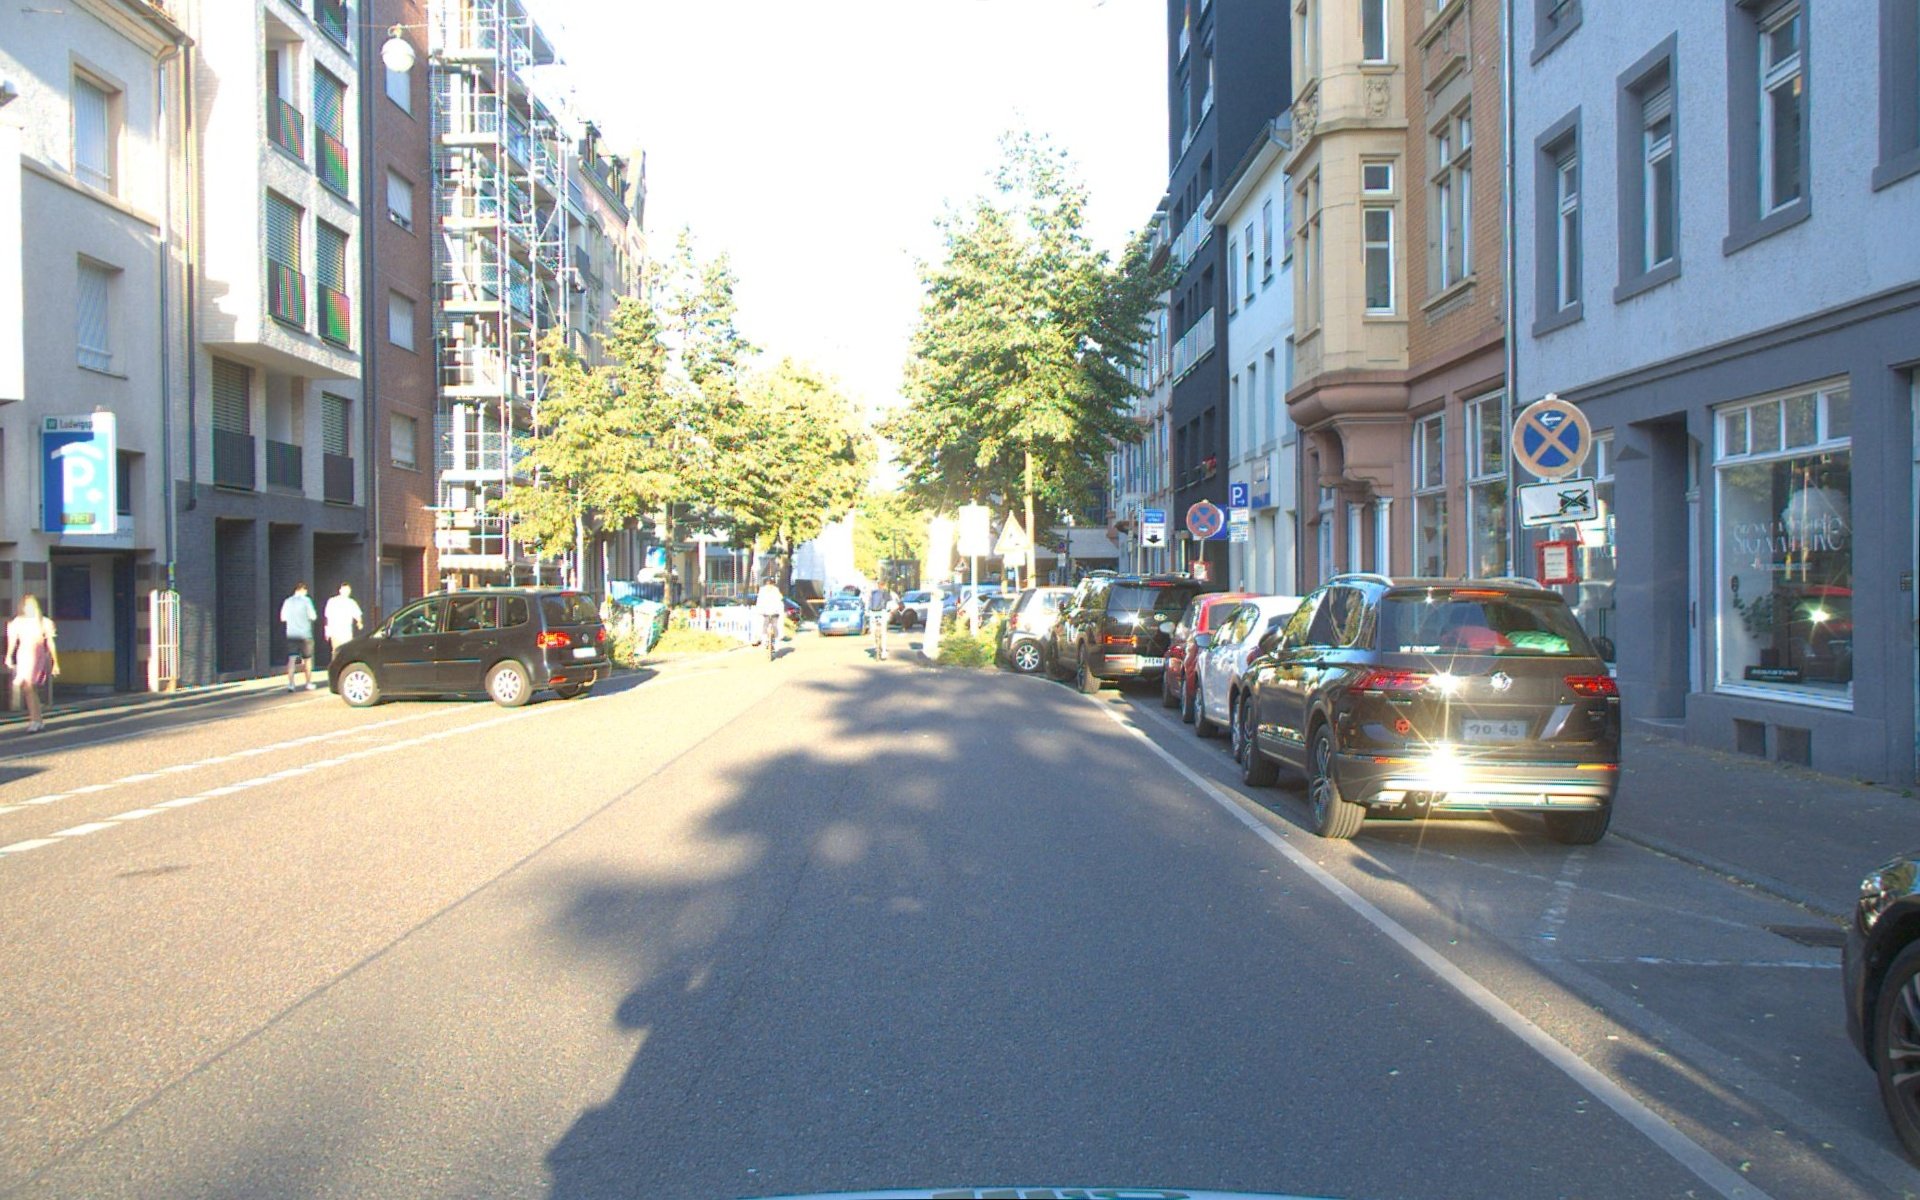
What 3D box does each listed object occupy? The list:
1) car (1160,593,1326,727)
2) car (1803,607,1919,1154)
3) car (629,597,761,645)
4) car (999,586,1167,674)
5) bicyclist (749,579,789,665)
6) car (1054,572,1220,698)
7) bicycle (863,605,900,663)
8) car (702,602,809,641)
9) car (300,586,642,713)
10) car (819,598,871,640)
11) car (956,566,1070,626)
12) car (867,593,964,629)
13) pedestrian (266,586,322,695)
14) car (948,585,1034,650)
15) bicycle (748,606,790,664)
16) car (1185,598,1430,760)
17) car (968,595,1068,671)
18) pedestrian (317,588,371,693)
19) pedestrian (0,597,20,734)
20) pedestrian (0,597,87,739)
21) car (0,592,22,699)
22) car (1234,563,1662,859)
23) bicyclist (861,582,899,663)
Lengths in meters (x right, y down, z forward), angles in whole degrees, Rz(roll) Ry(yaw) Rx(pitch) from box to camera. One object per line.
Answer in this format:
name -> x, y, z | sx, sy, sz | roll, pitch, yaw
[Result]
car -> 3.413, 0.689, 20.439 | 1.554, 1.509, 3.267 | 1, 0, 1
car -> 3.521, 0.778, 3.063 | 1.726, 1.509, 4.306 | 1, 0, 0
car -> -8.717, 0.687, 54.724 | 4.018, 1.491, 1.889 | 1, 0, 1
car -> 2.255, 0.550, 30.741 | 2.910, 1.563, 1.432 | 1, 0, -5
bicyclist -> -4.258, 0.482, 36.913 | 0.765, 1.861, 1.006 | -1, 0, -3
car -> 2.581, 0.491, 25.102 | 1.788, 1.725, 4.365 | 1, 0, -4
bicycle -> -1.717, 0.728, 36.084 | 0.765, 1.225, 2.019 | -1, 0, -3
car -> -8.158, 0.861, 66.264 | 4.018, 1.491, 1.889 | 1, 0, 1
car -> -7.108, 0.728, 24.117 | 4.401, 1.630, 2.001 | -3, -1, 19
car -> -4.228, 0.674, 61.465 | 1.801, 1.466, 4.329 | 1, 0, -3
car -> 1.898, -0.141, 58.251 | 3.903, 2.049, 2.001 | -1, 0, 3
car -> -1.912, 0.474, 72.247 | 1.854, 1.506, 4.438 | 0, 0, 38
pedestrian -> -11.080, 0.667, 27.532 | 0.703, 1.798, 0.693 | 1, -1, -9
car -> 0.930, 0.541, 52.838 | 2.221, 1.796, 4.506 | 5, -1, -4
bicycle -> -4.251, 0.762, 36.899 | 0.765, 1.225, 2.019 | -1, 0, -3
car -> 3.328, 0.705, 16.491 | 1.632, 1.402, 3.802 | 1, 0, 0
car -> 1.318, 0.761, 39.564 | 1.954, 1.697, 4.506 | 1, 0, -4
pedestrian -> -10.554, 0.695, 28.357 | 0.703, 1.771, 0.737 | 1, -1, -9
pedestrian -> -12.033, 0.793, 20.076 | 0.701, 1.670, 0.855 | 1, -1, 4
pedestrian -> -11.172, 0.807, 20.005 | 0.701, 1.670, 0.855 | 1, -1, 4
car -> -16.833, 0.661, 24.782 | 4.401, 1.629, 2.000 | 1, 0, 2
car -> 3.178, 0.653, 11.682 | 1.775, 1.697, 4.205 | 1, 0, 0
bicyclist -> -1.741, 0.487, 36.011 | 0.765, 1.726, 1.006 | -1, 0, -3
